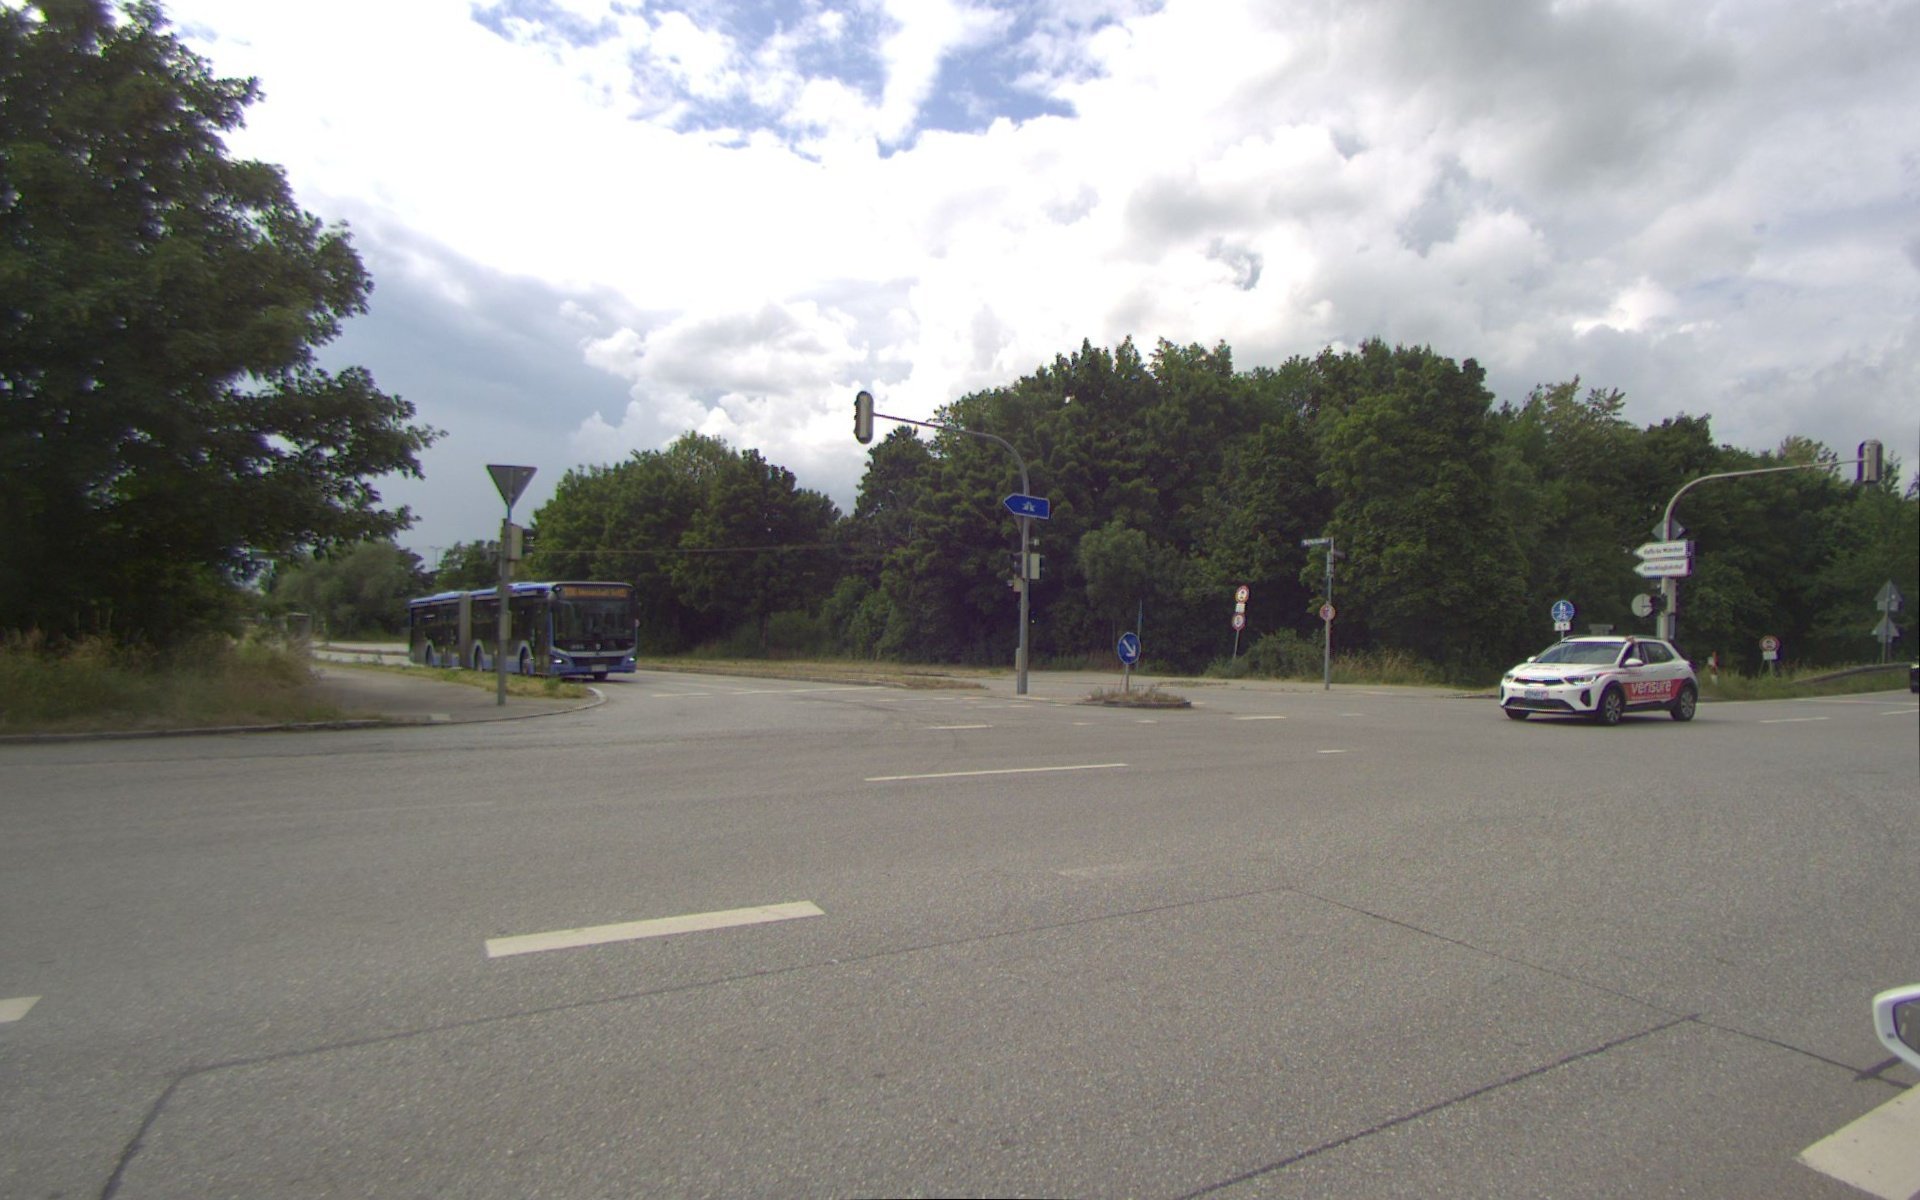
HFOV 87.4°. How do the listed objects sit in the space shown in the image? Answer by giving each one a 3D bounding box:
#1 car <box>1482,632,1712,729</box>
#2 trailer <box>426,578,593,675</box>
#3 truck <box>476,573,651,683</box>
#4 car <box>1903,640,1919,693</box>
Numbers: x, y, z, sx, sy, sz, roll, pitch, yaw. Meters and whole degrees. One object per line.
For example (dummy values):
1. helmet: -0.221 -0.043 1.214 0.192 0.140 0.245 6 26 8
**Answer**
1. car: 11.416 1.369 17.937 4.296 1.524 1.721 2 -1 -31
2. trailer: -16.772 0.912 36.813 2.863 3.077 10.632 1 -1 -40
3. truck: -12.808 0.840 31.990 2.863 3.077 7.850 1 -1 -40
4. car: 31.247 2.071 31.252 4.157 1.603 1.753 2 -3 -32
